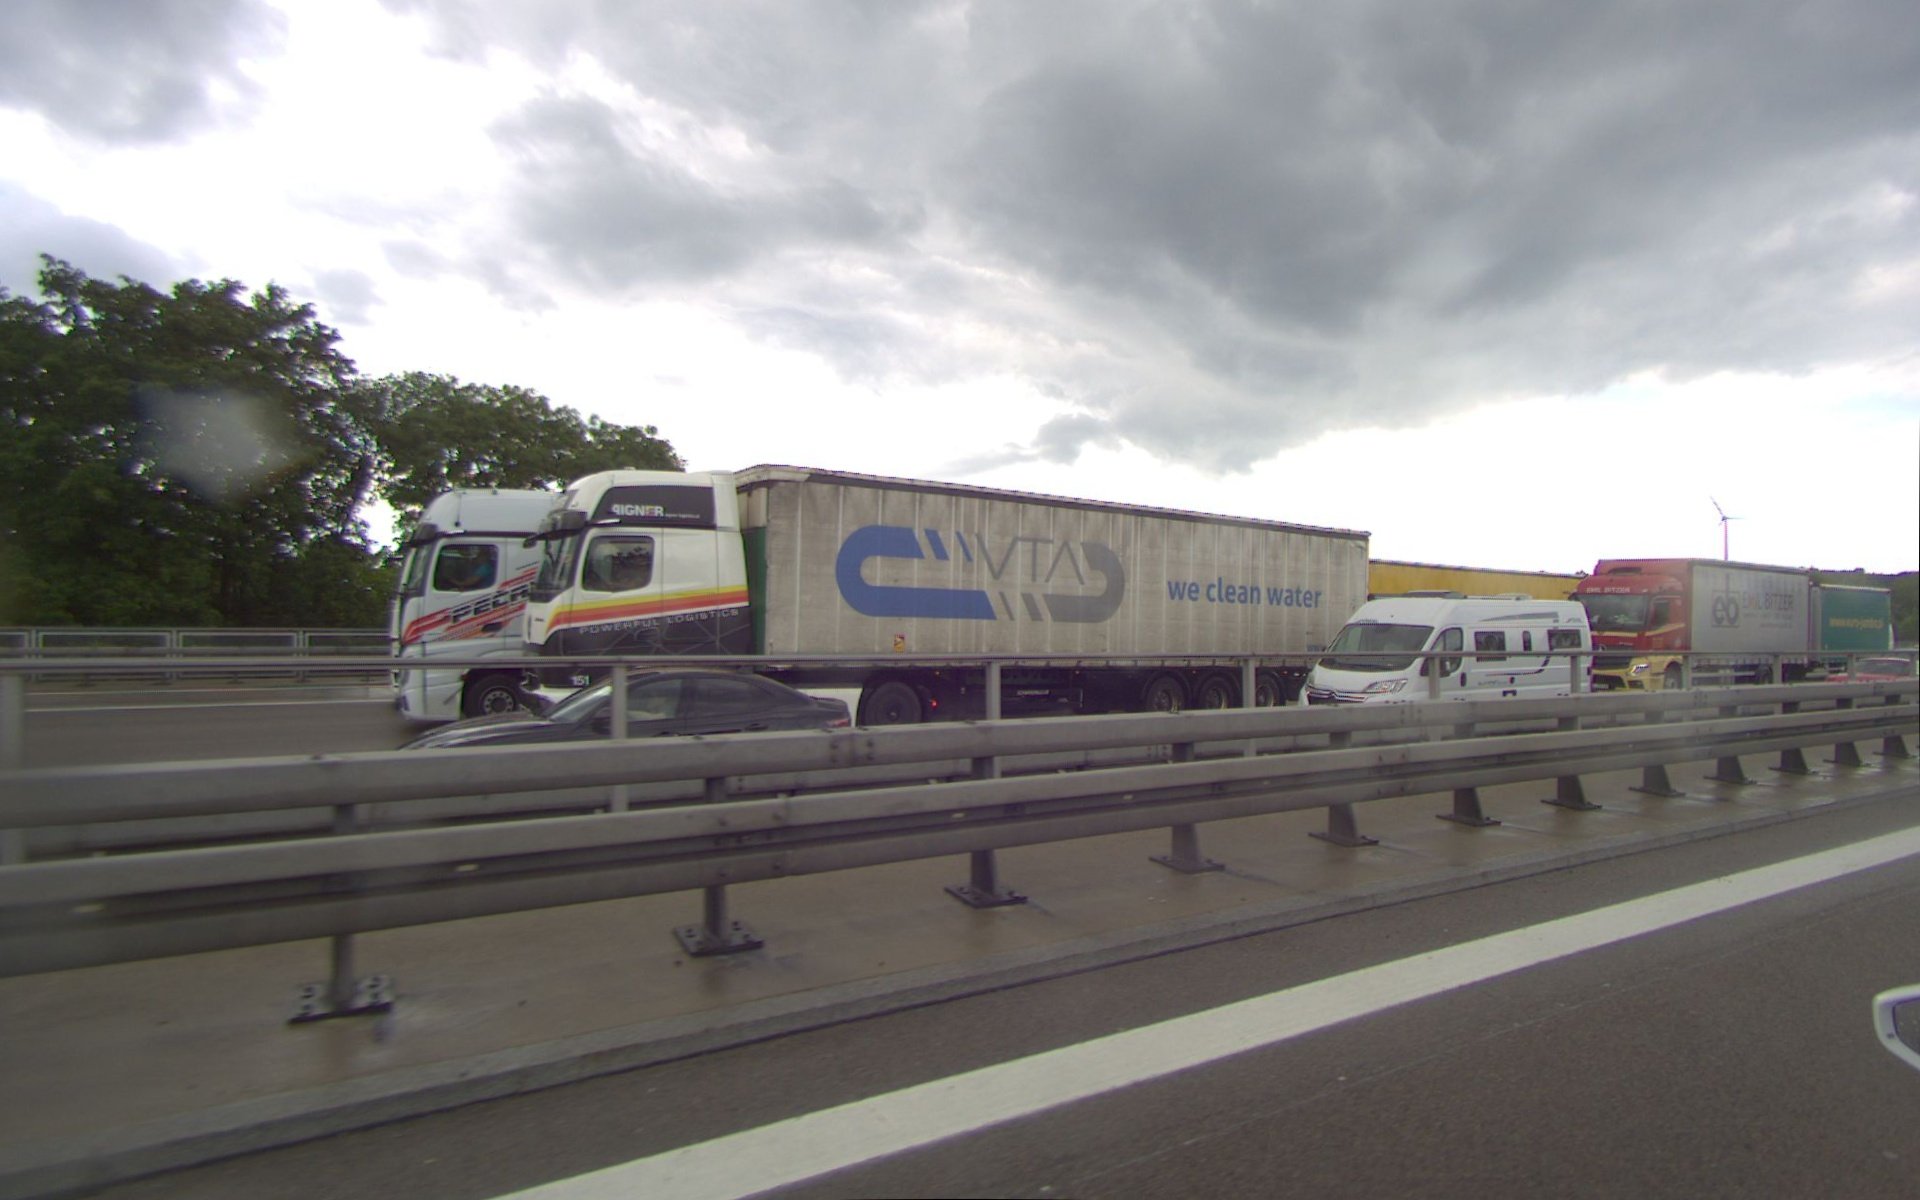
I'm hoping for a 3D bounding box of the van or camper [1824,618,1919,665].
[{"bbox_3d":[53.572,2.418,58.940,7.280,2.612,2.232,1,-1,-31],"label":"van or camper"}]

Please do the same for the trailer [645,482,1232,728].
[{"bbox_3d":[0.125,0.238,21.602,12.873,4.200,2.867,1,-2,-30],"label":"trailer"}]

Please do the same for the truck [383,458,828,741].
[{"bbox_3d":[-6.184,0.088,17.931,7.017,4.202,2.891,1,-2,-30],"label":"truck"}]

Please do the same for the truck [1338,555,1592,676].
[{"bbox_3d":[19.144,0.660,37.610,11.557,4.034,2.707,1,-1,-31],"label":"truck"}]

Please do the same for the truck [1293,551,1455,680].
[{"bbox_3d":[14.322,0.565,34.700,5.048,4.123,2.690,1,-1,-30],"label":"truck"}]

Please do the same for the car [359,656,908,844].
[{"bbox_3d":[-3.228,1.349,10.401,5.106,1.437,1.913,1,-2,-32],"label":"car"}]

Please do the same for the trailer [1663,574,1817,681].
[{"bbox_3d":[31.857,1.102,40.988,6.241,4.083,2.821,1,0,-31],"label":"trailer"}]

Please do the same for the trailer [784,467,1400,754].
[{"bbox_3d":[3.211,0.307,19.328,12.881,4.200,2.866,1,-2,-32],"label":"trailer"}]

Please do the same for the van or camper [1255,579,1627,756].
[{"bbox_3d":[8.460,1.065,17.306,7.220,2.529,2.266,1,-2,-32],"label":"van or camper"}]

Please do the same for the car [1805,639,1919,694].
[{"bbox_3d":[26.305,1.835,28.648,4.955,1.437,1.913,1,-2,-32],"label":"car"}]

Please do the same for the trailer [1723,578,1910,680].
[{"bbox_3d":[38.506,1.291,44.969,11.468,4.115,2.804,1,0,-31],"label":"trailer"}]

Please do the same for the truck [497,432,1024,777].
[{"bbox_3d":[-2.878,0.154,15.526,7.472,4.235,2.866,1,-2,-32],"label":"truck"}]

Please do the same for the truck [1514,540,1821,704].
[{"bbox_3d":[21.657,0.725,30.330,12.381,4.203,2.968,1,-2,-32],"label":"truck"}]

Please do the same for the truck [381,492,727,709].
[{"bbox_3d":[-8.594,0.099,21.520,6.499,4.046,2.746,1,-2,-30],"label":"truck"}]
